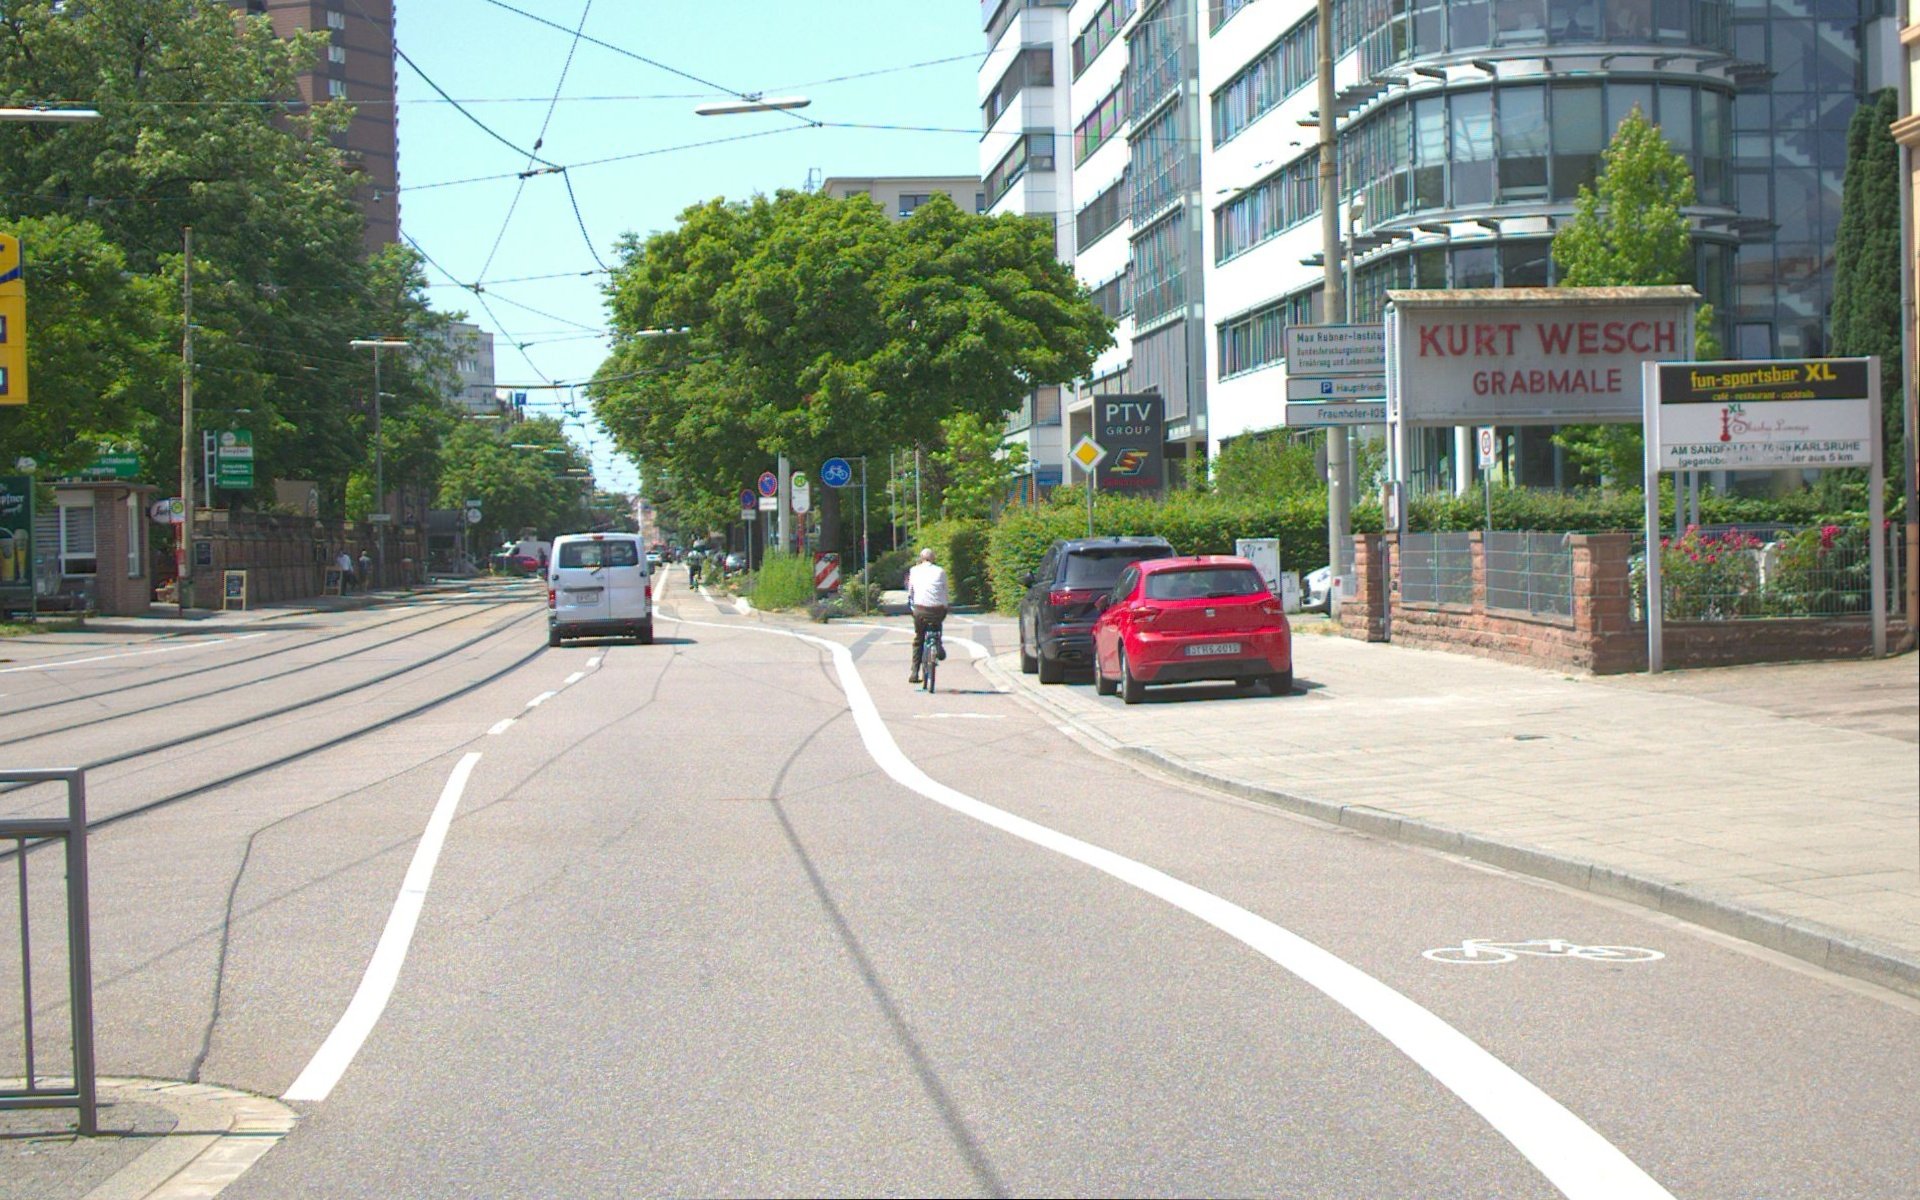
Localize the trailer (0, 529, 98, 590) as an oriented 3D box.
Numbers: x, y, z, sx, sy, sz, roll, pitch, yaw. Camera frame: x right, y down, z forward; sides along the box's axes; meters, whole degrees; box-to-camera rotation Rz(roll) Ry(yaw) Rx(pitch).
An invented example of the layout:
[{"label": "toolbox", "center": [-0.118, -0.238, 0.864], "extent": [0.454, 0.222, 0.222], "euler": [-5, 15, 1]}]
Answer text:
[{"label": "trailer", "center": [-23.317, -1.025, 86.936], "extent": [2.727, 1.521, 1.330], "euler": [0, 0, -3]}]

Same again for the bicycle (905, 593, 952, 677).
[{"label": "bicycle", "center": [-0.371, 0.392, 39.553], "extent": [0.465, 0.884, 2.048], "euler": [-1, 1, -2]}]

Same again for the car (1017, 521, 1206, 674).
[{"label": "car", "center": [1.785, -0.088, 41.962], "extent": [1.863, 1.681, 5.001], "euler": [-2, 1, -2]}]

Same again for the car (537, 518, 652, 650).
[{"label": "car", "center": [-6.050, -0.303, 57.170], "extent": [1.752, 2.006, 4.001], "euler": [-2, 2, -5]}]

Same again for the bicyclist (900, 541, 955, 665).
[{"label": "bicyclist", "center": [-0.379, 0.028, 39.513], "extent": [0.591, 1.392, 0.842], "euler": [-1, 1, -2]}]

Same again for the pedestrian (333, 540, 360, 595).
[{"label": "pedestrian", "center": [-23.176, -1.232, 129.937], "extent": [0.863, 2.007, 0.646], "euler": [-3, 0, -7]}]

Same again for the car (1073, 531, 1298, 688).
[{"label": "car", "center": [2.293, 0.052, 35.941], "extent": [1.712, 1.447, 4.073], "euler": [-3, 2, -4]}]

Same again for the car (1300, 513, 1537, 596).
[{"label": "car", "center": [7.930, -0.801, 59.619], "extent": [3.798, 1.270, 1.556], "euler": [-3, 1, -4]}]
